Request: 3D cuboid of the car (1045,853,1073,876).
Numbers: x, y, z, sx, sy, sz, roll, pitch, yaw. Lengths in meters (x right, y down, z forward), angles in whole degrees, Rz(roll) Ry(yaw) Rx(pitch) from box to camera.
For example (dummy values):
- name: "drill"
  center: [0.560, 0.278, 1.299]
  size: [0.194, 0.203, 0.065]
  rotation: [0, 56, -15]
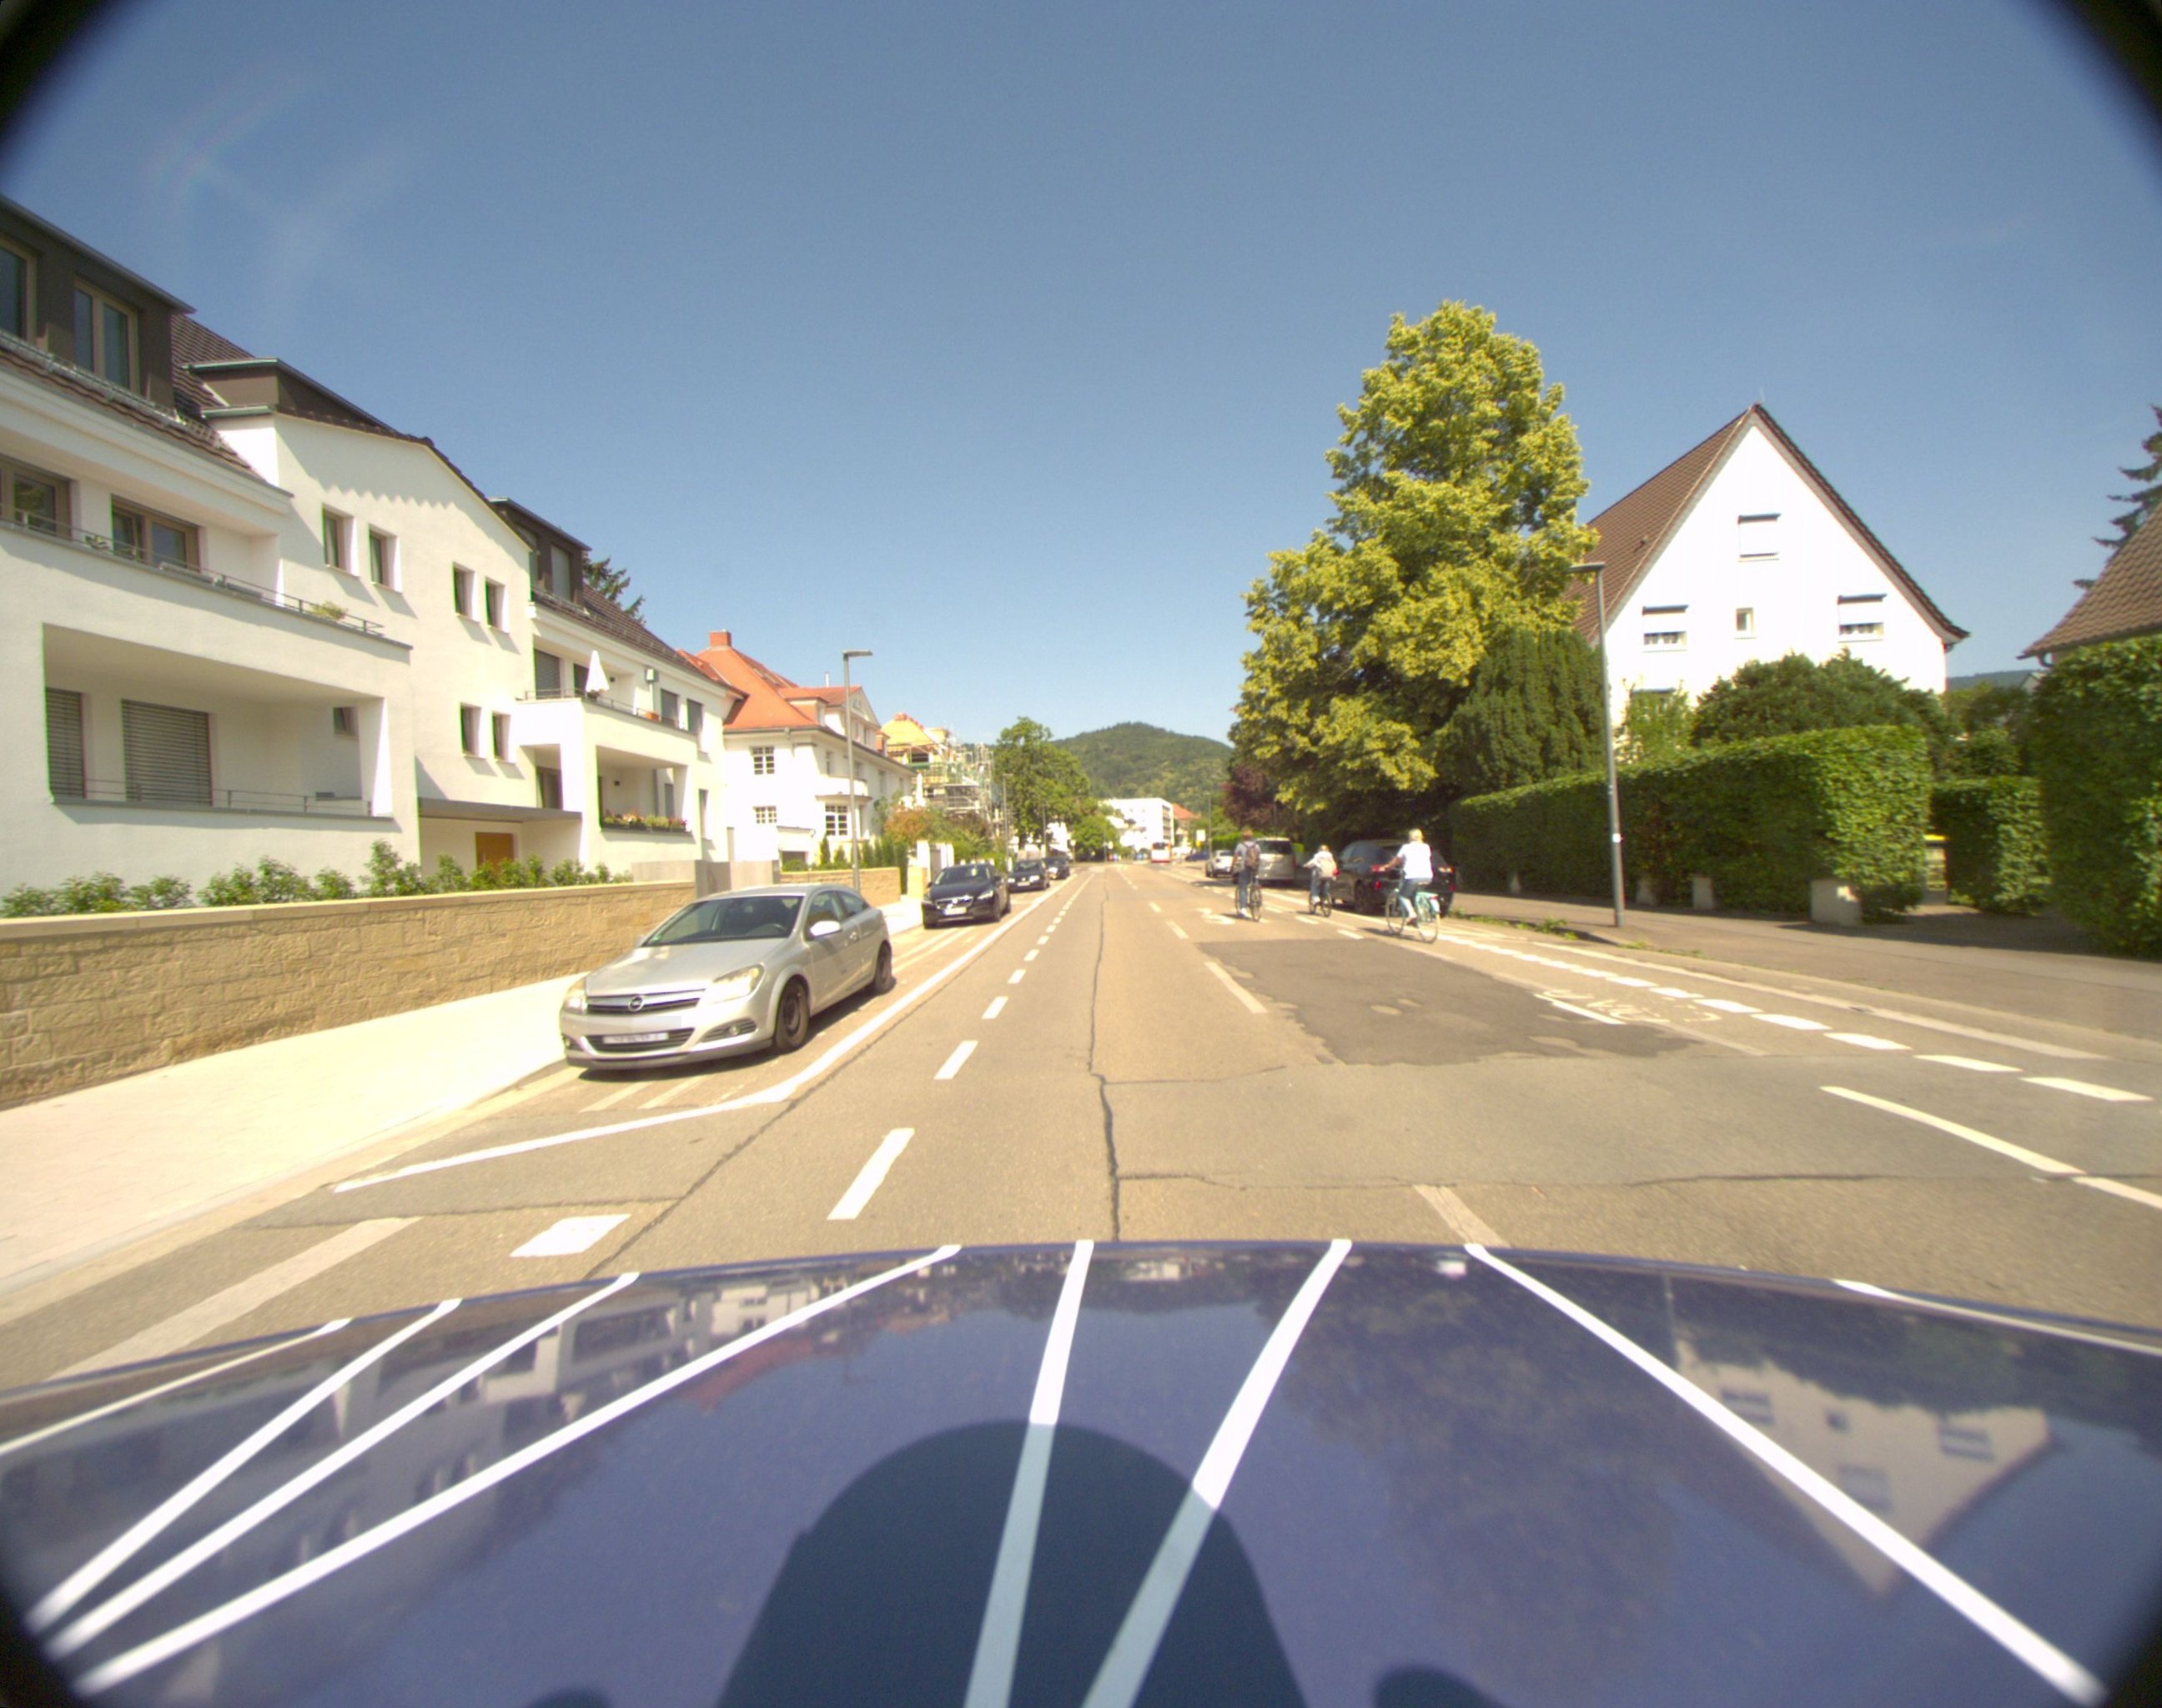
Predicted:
- name: "car"
  center: [-1.545, 0.728, 54.718]
  size: [1.661, 1.467, 3.787]
  rotation: [-5, 1, 1]

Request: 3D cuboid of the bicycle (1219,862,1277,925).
- name: "bicycle"
  center: [3.474, 0.777, 16.042]
  size: [0.784, 1.159, 2.420]
  rotation: [0, 1, 2]

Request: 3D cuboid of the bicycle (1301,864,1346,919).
- name: "bicycle"
  center: [5.226, 0.796, 16.440]
  size: [0.602, 1.099, 1.346]
  rotation: [0, 1, 2]

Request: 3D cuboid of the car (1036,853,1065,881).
- name: "car"
  center: [-1.931, 0.786, 49.293]
  size: [1.701, 1.574, 4.900]
  rotation: [-4, 1, -1]

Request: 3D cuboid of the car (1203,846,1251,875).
- name: "car"
  center: [7.830, 0.341, 41.053]
  size: [1.838, 1.477, 4.562]
  rotation: [0, 0, 2]

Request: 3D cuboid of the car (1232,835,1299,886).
- name: "car"
  center: [7.411, 0.202, 30.981]
  size: [1.889, 1.909, 4.869]
  rotation: [0, 1, 5]

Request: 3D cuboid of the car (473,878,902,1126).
- name: "car"
  center: [-3.213, 1.102, 7.307]
  size: [1.741, 1.321, 4.075]
  rotation: [-6, 2, 2]

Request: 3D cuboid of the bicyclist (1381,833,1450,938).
- name: "bicyclist"
  center: [5.142, 0.460, 11.736]
  size: [0.677, 1.571, 0.859]
  rotation: [0, 2, 2]

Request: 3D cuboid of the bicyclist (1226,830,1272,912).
- name: "bicyclist"
  center: [3.474, 0.331, 15.780]
  size: [0.751, 1.658, 1.022]
  rotation: [0, 2, 2]

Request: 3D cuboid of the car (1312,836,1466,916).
- name: "car"
  center: [6.927, 0.433, 17.656]
  size: [1.855, 1.601, 4.448]
  rotation: [0, 0, 1]

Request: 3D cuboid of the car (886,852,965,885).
- name: "car"
  center: [-9.203, 0.851, 45.129]
  size: [4.173, 1.574, 1.702]
  rotation: [-5, 1, 1]

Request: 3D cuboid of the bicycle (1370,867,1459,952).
- name: "bicycle"
  center: [5.159, 0.809, 11.888]
  size: [0.560, 1.178, 2.036]
  rotation: [-1, 0, 2]

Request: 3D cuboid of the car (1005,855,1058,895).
- name: "car"
  center: [-2.241, 0.926, 35.515]
  size: [1.623, 1.440, 4.001]
  rotation: [-8, 0, 7]

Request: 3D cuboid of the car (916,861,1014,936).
- name: "car"
  center: [-2.814, 1.019, 19.308]
  size: [1.726, 1.441, 4.168]
  rotation: [-5, 1, 0]

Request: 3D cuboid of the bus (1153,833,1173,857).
- name: "bus"
  center: [11.766, -1.299, 109.327]
  size: [2.751, 3.156, 9.781]
  rotation: [0, 1, 6]

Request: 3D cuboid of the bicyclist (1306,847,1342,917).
- name: "bicyclist"
  center: [5.220, 0.587, 16.343]
  size: [0.491, 1.445, 0.964]
  rotation: [0, 1, 2]
